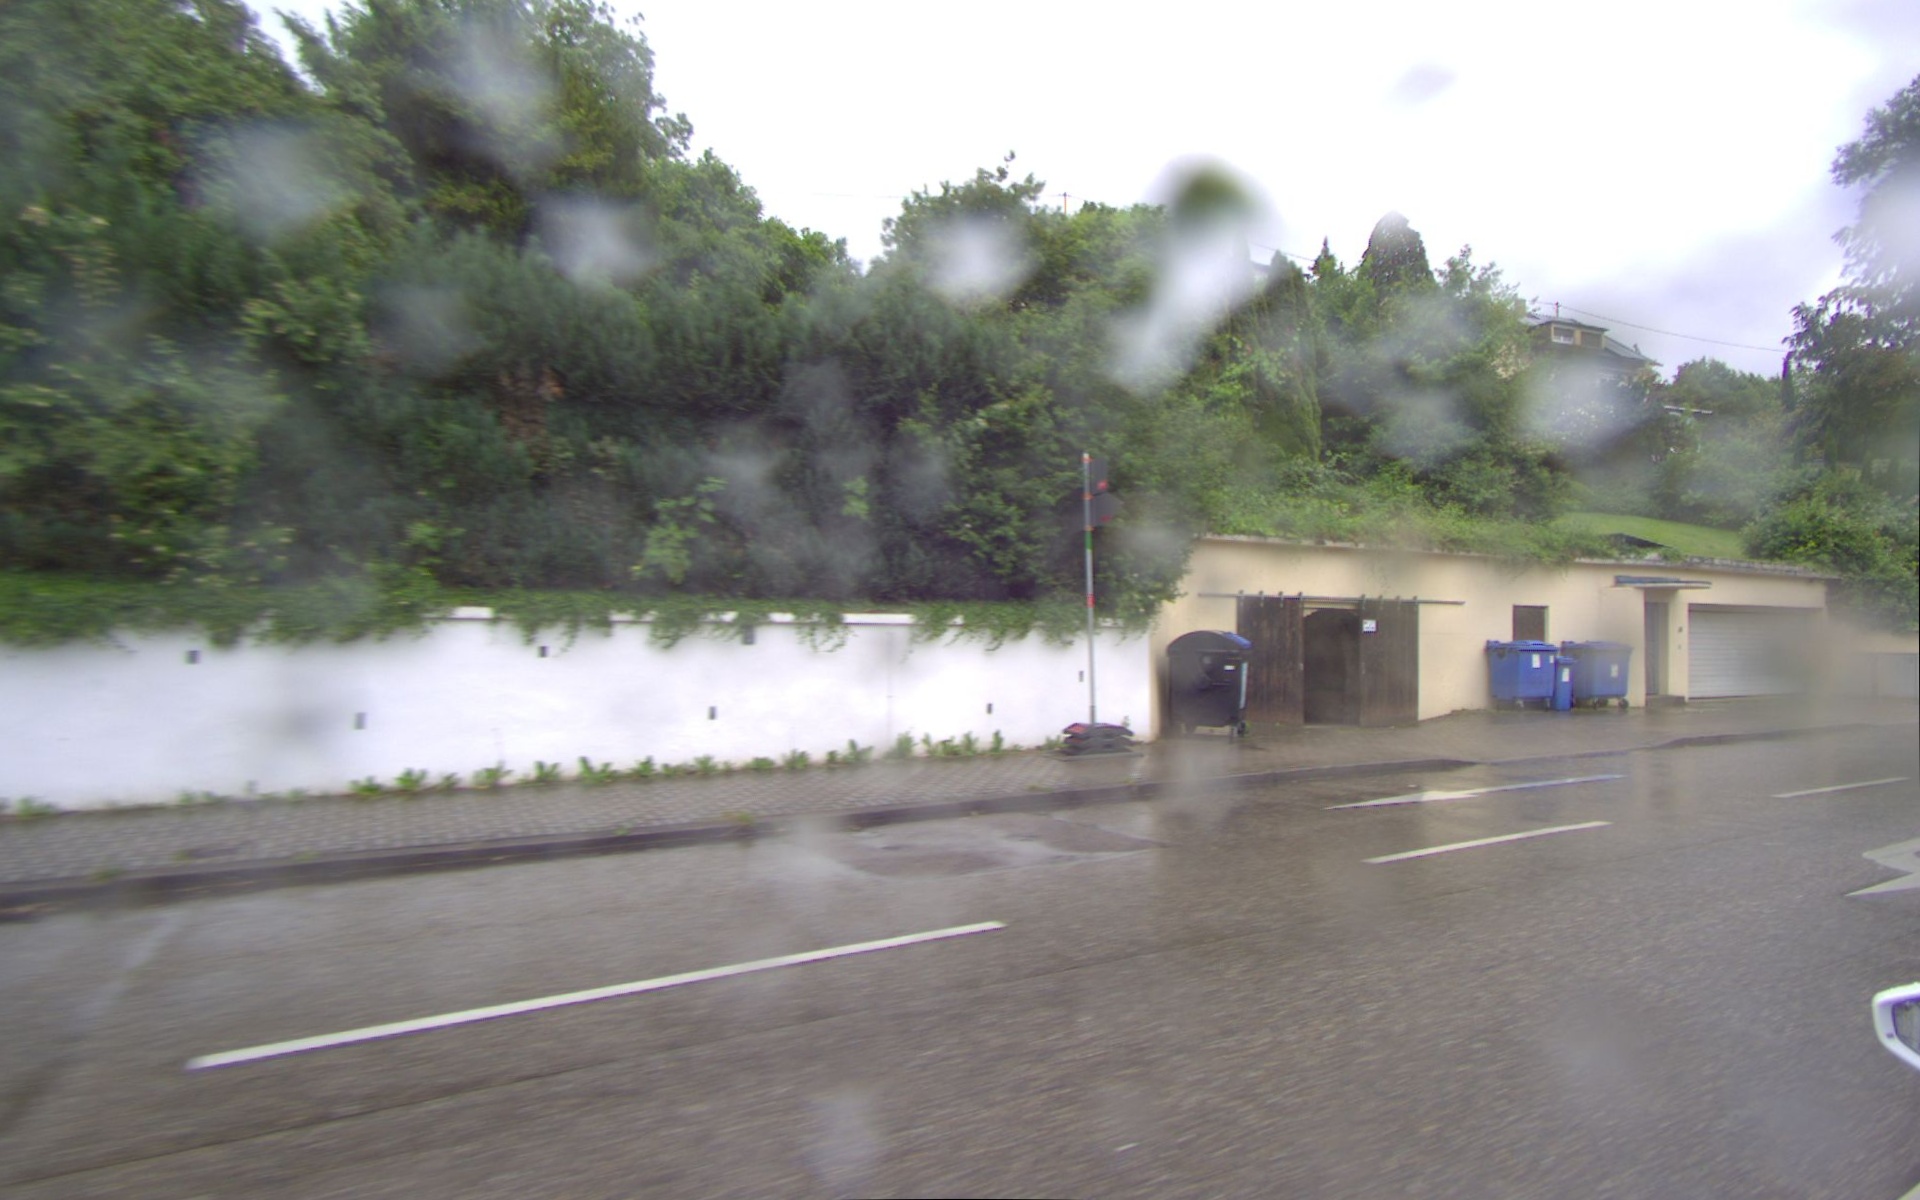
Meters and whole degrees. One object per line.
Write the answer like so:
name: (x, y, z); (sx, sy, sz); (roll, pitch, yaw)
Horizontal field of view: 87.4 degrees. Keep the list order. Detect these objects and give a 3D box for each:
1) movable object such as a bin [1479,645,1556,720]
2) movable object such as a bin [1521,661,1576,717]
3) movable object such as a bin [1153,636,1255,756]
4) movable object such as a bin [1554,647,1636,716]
movable object such as a bin: (10.894, 1.592, 19.650); (1.119, 1.400, 0.818); (0, -1, -26)
movable object such as a bin: (11.771, 1.770, 20.101); (0.599, 1.056, 0.733); (1, -1, -25)
movable object such as a bin: (3.202, 1.236, 13.217); (0.852, 1.464, 0.928); (2, 0, -31)
movable object such as a bin: (13.003, 1.647, 20.574); (1.383, 1.332, 0.818); (0, -1, -26)
